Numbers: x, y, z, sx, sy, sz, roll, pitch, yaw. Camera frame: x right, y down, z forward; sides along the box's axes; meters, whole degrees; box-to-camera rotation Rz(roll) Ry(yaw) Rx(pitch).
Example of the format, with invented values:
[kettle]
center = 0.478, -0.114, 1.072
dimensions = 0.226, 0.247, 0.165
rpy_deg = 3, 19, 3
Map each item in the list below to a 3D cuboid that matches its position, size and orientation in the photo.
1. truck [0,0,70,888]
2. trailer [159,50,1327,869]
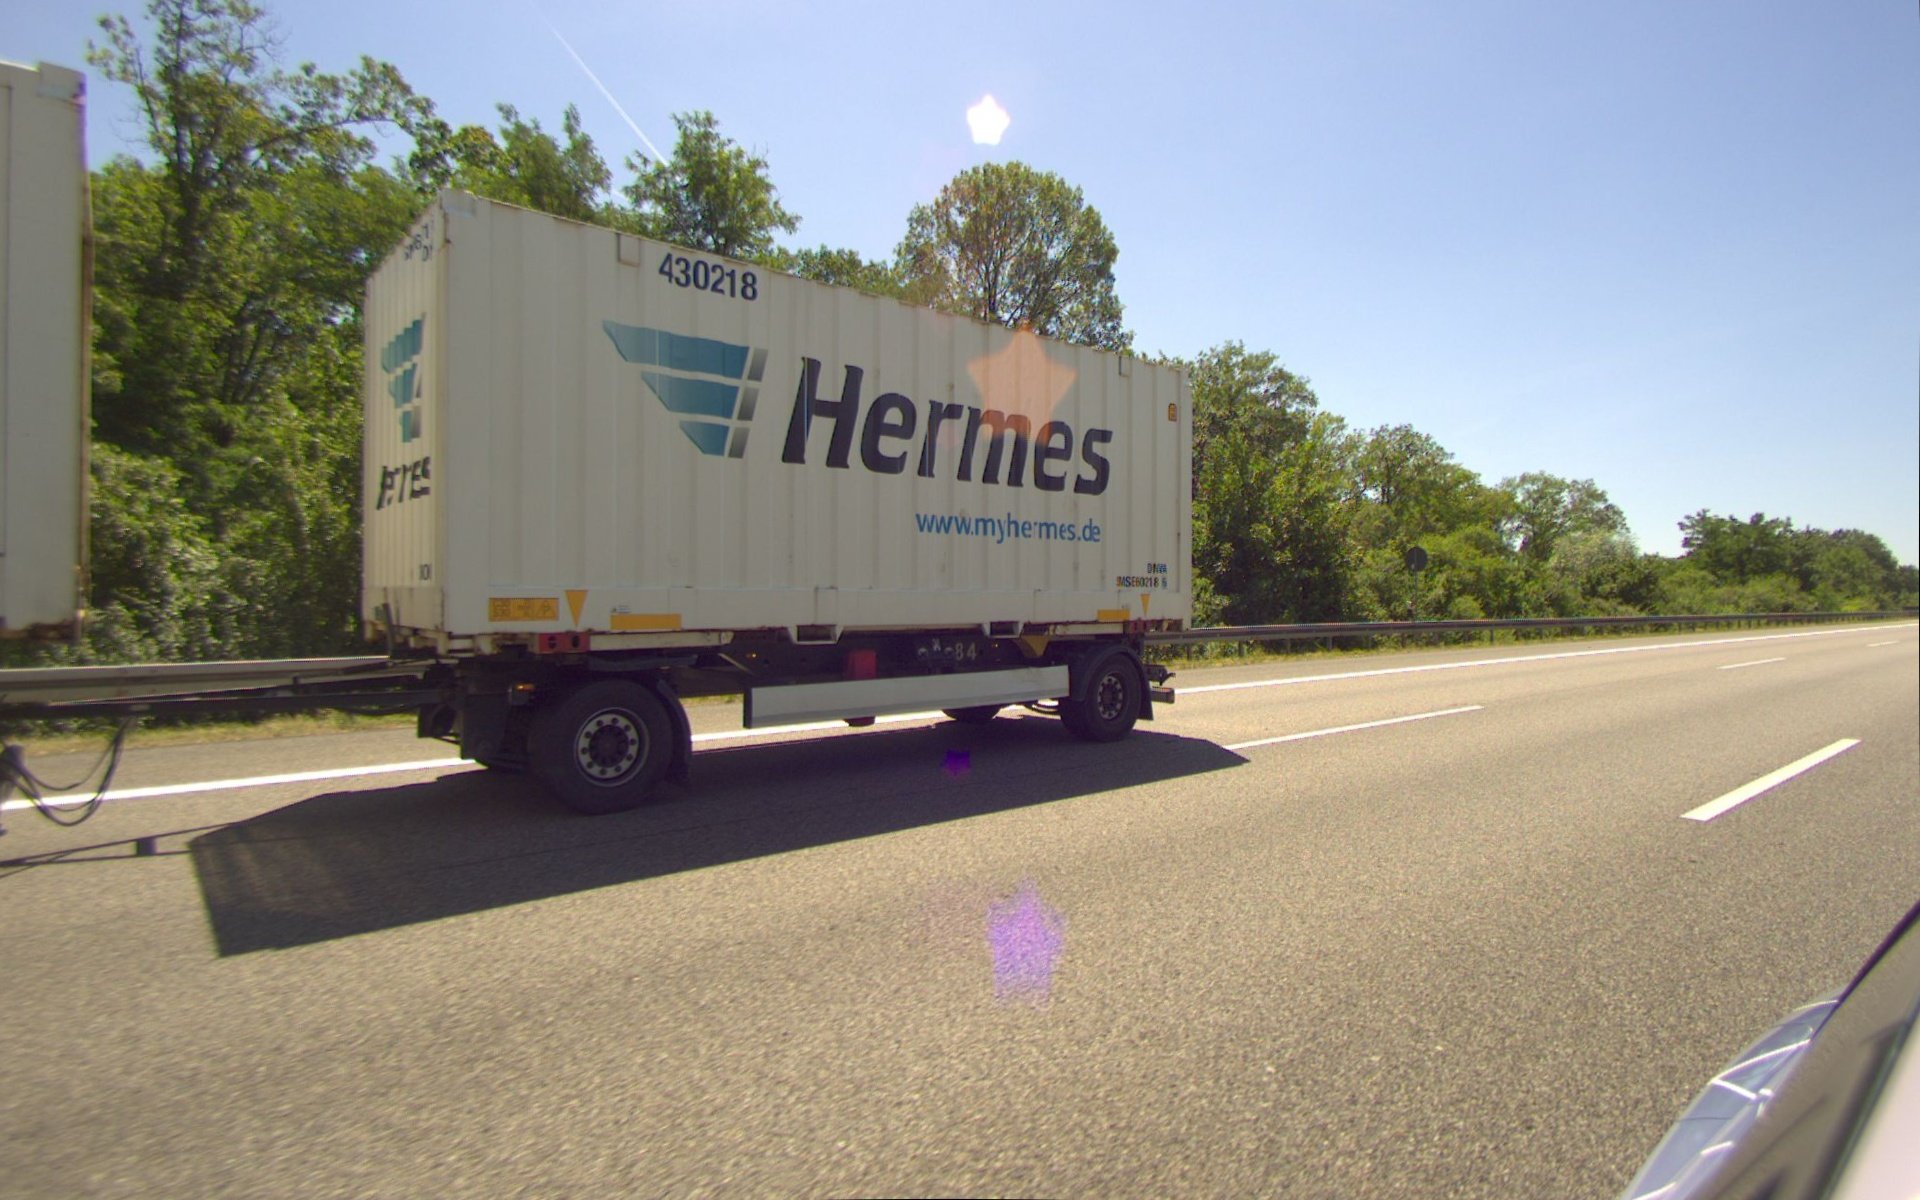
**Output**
[truck]
center = -9.074, -0.730, 2.334
dimensions = 10.482, 4.182, 2.531
rpy_deg = 0, 0, -41
[trailer]
center = -0.562, -0.750, 9.672
dimensions = 11.065, 4.111, 2.559
rpy_deg = 0, 0, -41
